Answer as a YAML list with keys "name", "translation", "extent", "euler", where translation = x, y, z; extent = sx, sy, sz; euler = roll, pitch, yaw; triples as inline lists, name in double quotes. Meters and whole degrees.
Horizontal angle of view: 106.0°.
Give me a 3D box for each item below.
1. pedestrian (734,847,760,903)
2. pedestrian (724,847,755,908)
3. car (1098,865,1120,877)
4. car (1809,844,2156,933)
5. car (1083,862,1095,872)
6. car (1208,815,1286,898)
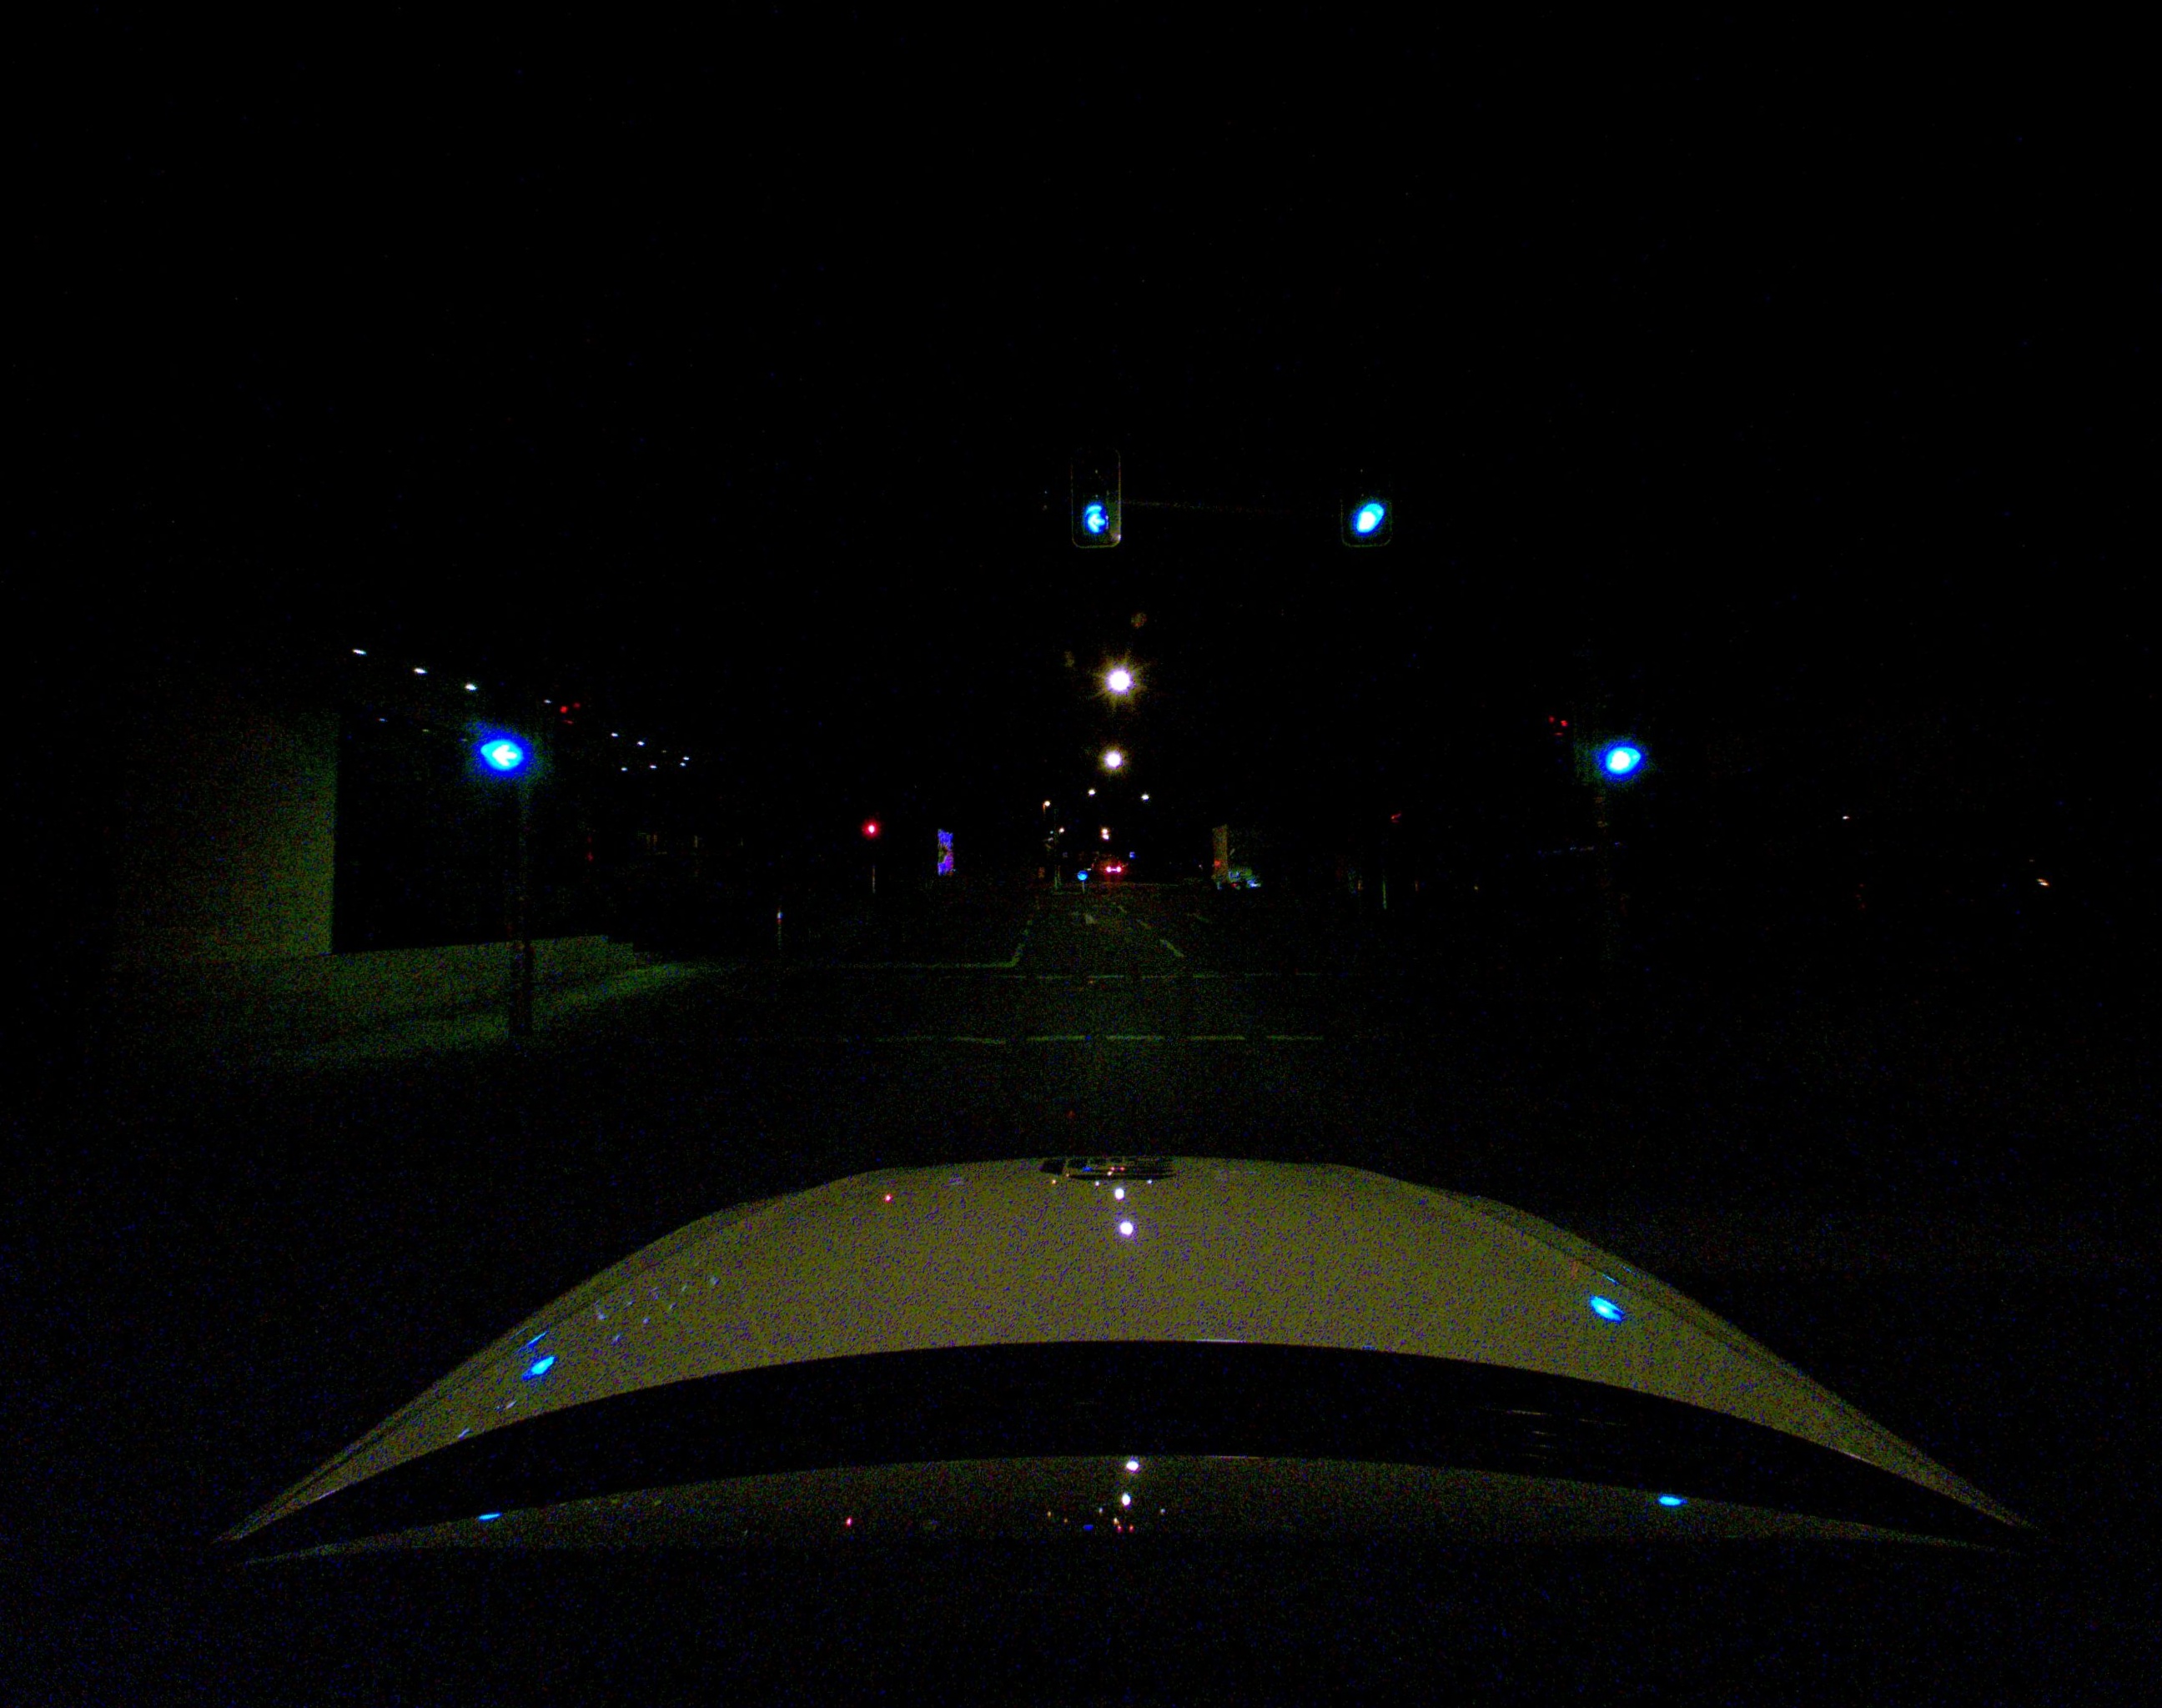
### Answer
- name: "pedestrian"
  translation: [-10.507, 0.660, 25.632]
  extent: [0.568, 1.731, 0.544]
  euler: [0, -1, 1]
- name: "pedestrian"
  translation: [-10.194, 0.683, 24.328]
  extent: [0.568, 1.778, 0.737]
  euler: [1, -1, 2]
- name: "car"
  translation: [3.640, 2.164, 106.055]
  extent: [1.779, 1.486, 3.979]
  euler: [0, -1, -15]
- name: "car"
  translation: [17.459, 0.708, 16.014]
  extent: [4.342, 1.560, 1.807]
  euler: [-2, -4, 8]
- name: "car"
  translation: [1.345, 2.135, 134.287]
  extent: [1.901, 1.558, 3.906]
  euler: [0, -1, 2]
- name: "car"
  translation: [6.779, 0.133, 33.961]
  extent: [2.287, 3.093, 5.845]
  euler: [-2, -1, 3]
